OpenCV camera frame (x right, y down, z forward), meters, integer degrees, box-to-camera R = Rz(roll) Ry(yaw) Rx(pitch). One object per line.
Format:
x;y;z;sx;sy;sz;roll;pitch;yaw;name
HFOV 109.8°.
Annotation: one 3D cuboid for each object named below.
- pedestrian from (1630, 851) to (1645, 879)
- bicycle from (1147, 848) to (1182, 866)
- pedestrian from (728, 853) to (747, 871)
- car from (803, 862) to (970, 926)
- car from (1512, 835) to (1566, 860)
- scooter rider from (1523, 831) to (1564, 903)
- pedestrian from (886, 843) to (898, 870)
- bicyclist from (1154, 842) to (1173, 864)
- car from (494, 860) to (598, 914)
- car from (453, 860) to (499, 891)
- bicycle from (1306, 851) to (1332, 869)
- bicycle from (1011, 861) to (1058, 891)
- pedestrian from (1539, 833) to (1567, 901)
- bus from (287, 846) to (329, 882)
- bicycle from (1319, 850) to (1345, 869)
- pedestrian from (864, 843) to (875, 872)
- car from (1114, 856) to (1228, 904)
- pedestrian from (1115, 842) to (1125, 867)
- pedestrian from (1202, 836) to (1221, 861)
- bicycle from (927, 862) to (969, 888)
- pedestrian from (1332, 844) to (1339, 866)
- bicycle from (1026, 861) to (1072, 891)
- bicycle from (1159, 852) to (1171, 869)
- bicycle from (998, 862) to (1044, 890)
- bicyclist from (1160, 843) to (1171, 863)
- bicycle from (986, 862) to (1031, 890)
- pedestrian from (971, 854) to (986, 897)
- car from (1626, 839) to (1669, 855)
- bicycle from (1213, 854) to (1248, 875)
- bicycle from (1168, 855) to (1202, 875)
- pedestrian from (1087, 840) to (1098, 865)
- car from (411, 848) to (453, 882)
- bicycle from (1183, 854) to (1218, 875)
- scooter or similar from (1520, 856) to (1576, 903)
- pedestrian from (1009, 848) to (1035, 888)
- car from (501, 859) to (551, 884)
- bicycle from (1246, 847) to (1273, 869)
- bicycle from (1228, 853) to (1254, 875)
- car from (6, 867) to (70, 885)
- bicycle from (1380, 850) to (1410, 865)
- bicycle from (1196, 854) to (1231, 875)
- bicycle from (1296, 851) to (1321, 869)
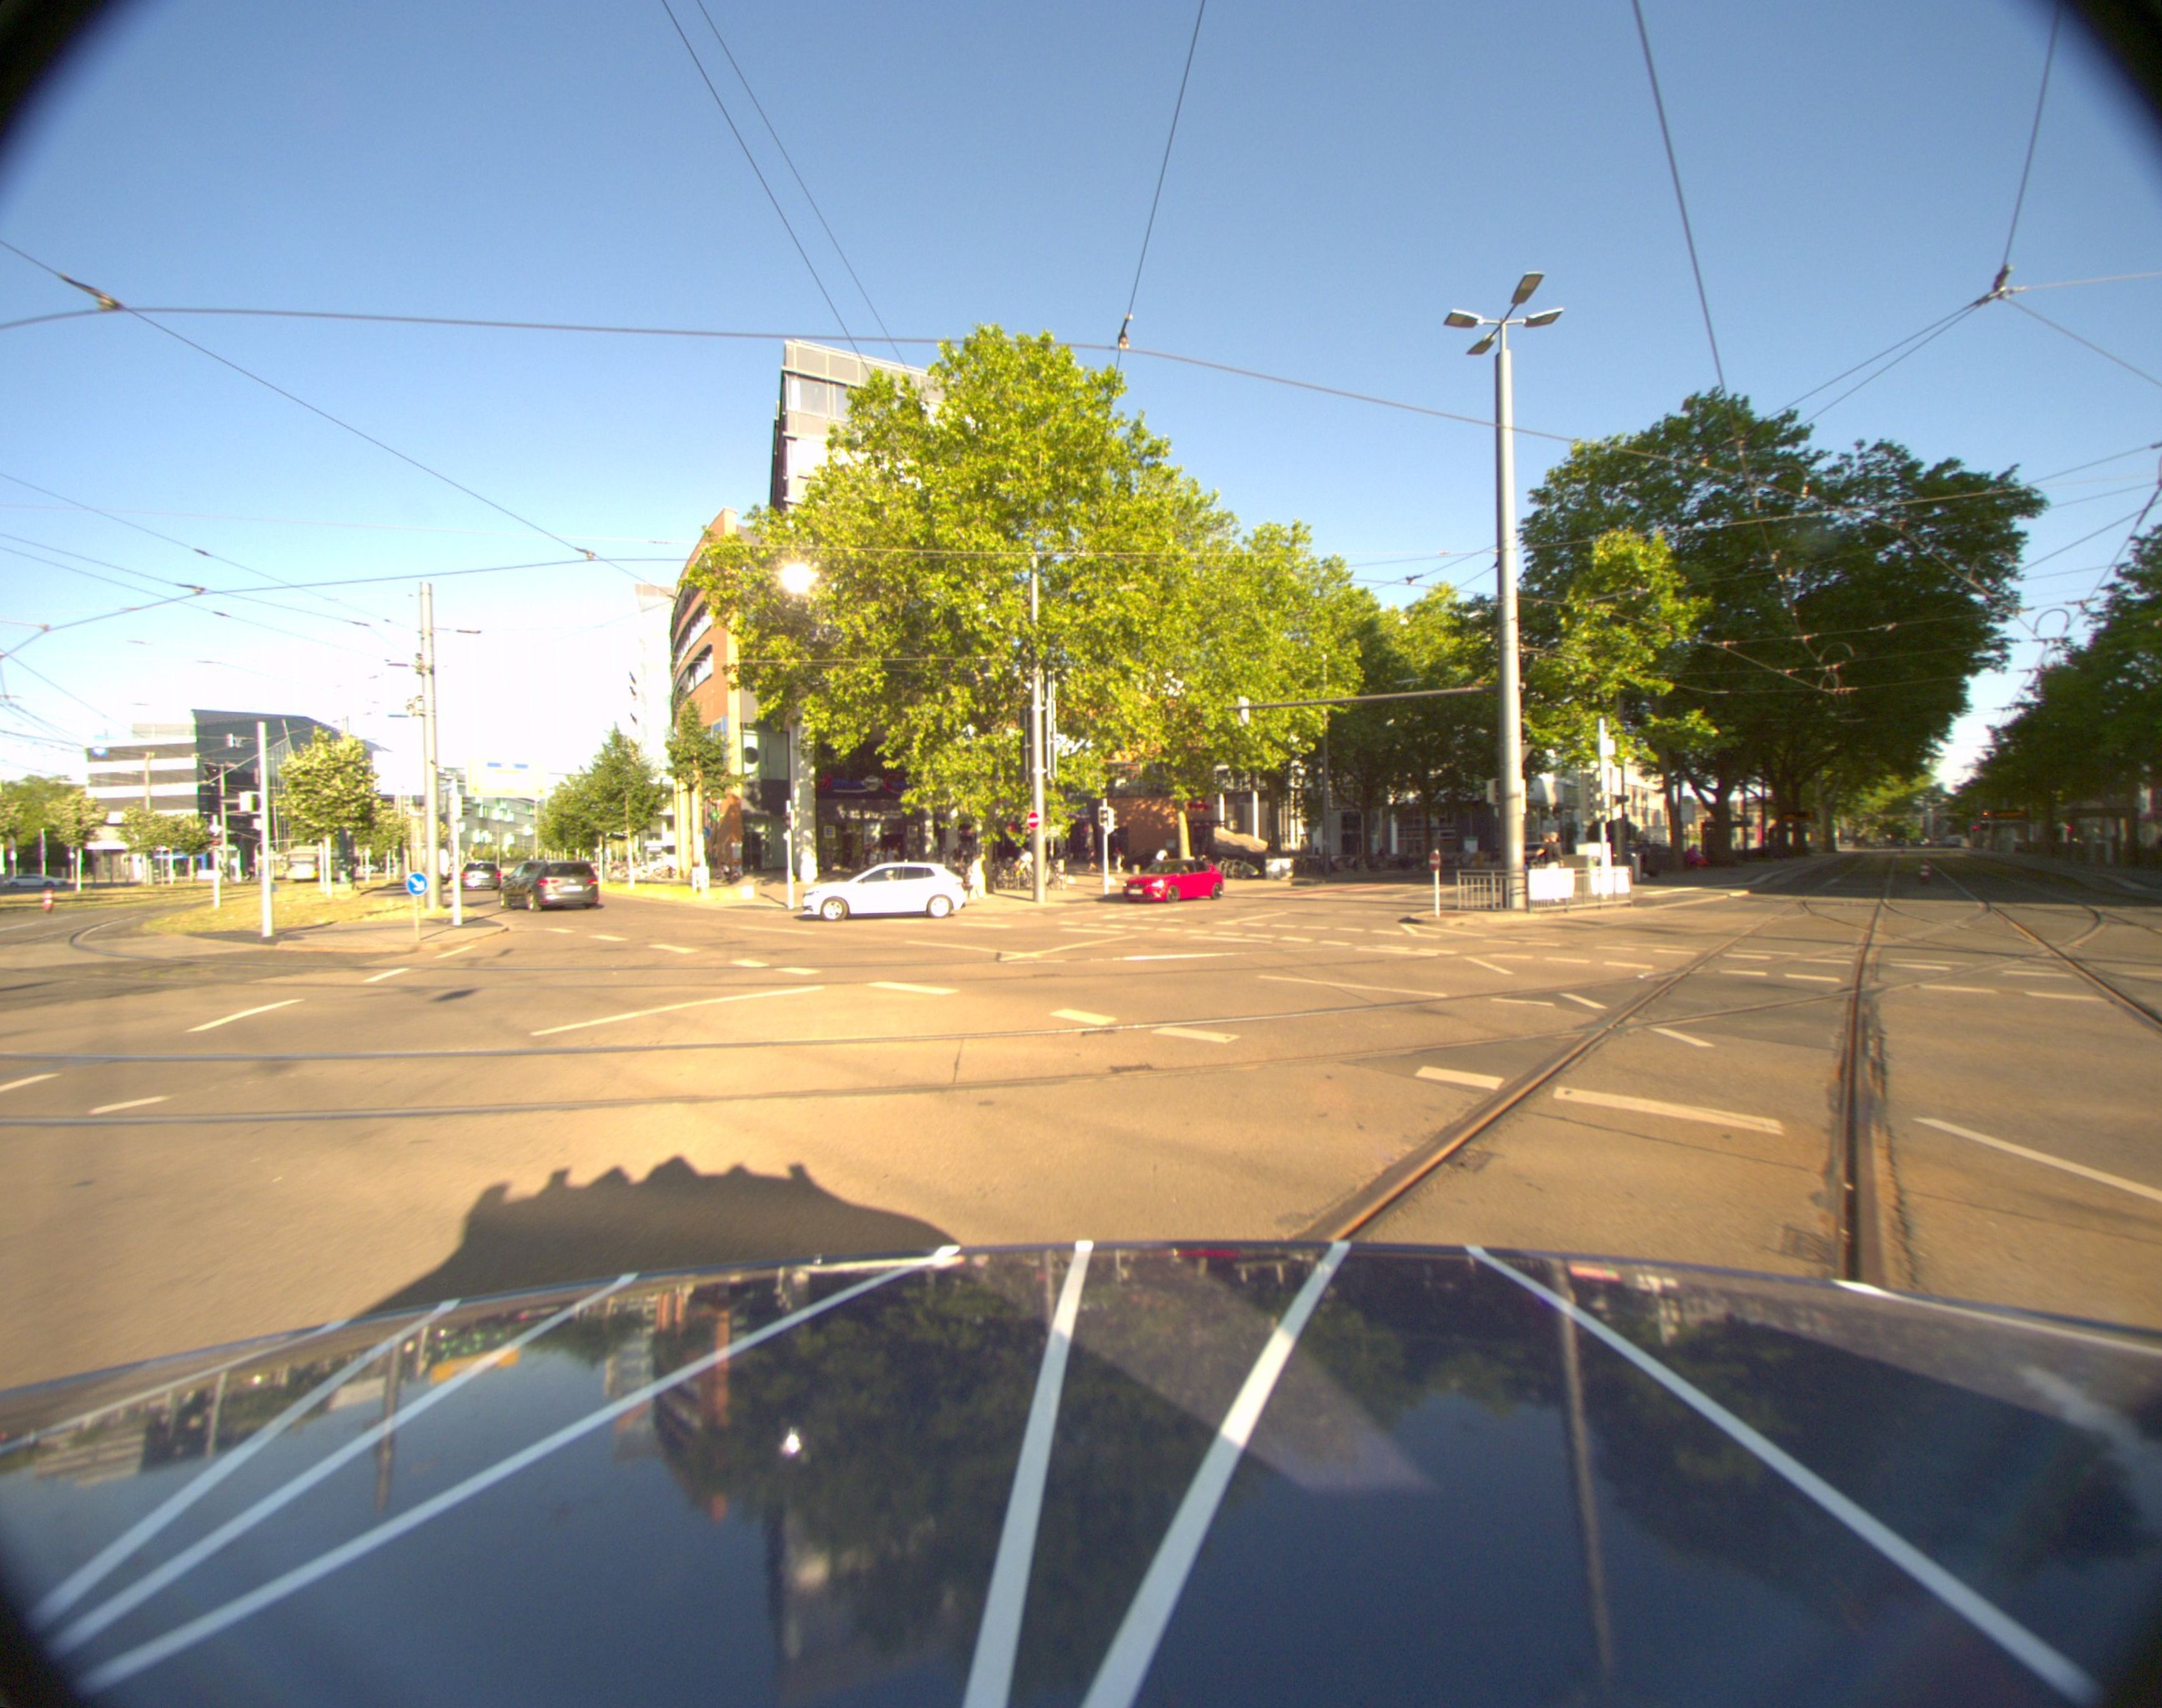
20.185;0.397;27.565;0.405;1.026;0.379;0;2;41;pedestrian
5.140;0.173;46.901;2.016;1.061;0.695;-1;1;-16;bicycle
-20.569;0.484;45.443;0.679;1.075;0.778;0;1;36;pedestrian
-5.028;0.978;19.789;4.002;1.443;1.634;-1;0;-16;car
37.220;-0.565;61.747;4.974;1.934;1.967;-2;0;-36;car
12.036;0.317;19.768;0.589;1.822;0.761;-2;1;-38;scooter rider
-11.648;0.165;46.926;0.596;1.647;0.591;-1;1;-24;pedestrian
5.086;-0.076;46.866;0.959;1.337;0.674;-1;1;-15;bicyclist
-17.364;1.023;24.602;4.163;1.593;1.622;-1;-1;38;car
-33.538;1.158;42.066;1.869;1.622;4.251;-2;0;-40;car
14.534;0.348;46.383;1.950;1.057;0.577;-2;1;-42;bicycle
-1.898;0.888;31.261;0.773;1.123;1.847;0;1;43;bicycle
12.604;0.329;20.284;0.568;1.786;0.674;0;1;37;pedestrian
-77.542;1.060;76.178;9.641;3.388;2.732;-2;0;44;bus
15.111;0.330;45.796;1.950;1.057;0.577;-2;1;-42;bicycle
-12.933;0.200;46.414;0.593;1.745;0.595;-1;1;-12;pedestrian
3.058;0.813;25.293;1.687;1.420;4.008;-1;0;43;car
2.656;0.046;52.118;0.544;1.660;0.570;-1;1;-13;pedestrian
7.988;-0.329;46.628;0.764;1.533;0.877;0;2;42;pedestrian
-5.596;0.884;32.096;1.703;1.030;0.547;-1;1;-42;bicycle
17.828;0.049;53.193;0.410;1.546;0.448;0;1;17;pedestrian
-1.286;0.868;30.712;0.773;1.123;1.847;0;1;43;bicycle
5.600;0.442;50.553;0.695;1.061;2.015;-1;1;3;bicycle
-2.497;0.907;31.838;0.773;1.123;1.847;0;1;43;bicycle
5.603;-0.078;50.490;0.674;1.292;0.959;-1;1;3;bicyclist
-3.094;0.926;32.456;0.773;1.123;1.847;0;1;43;bicycle
-3.673;0.771;27.282;0.484;1.529;0.572;-1;1;-8;pedestrian
52.720;-0.677;70.687;4.006;1.420;1.688;-2;0;-29;car
7.801;0.528;39.575;1.950;1.057;0.781;-2;1;-42;bicycle
5.745;0.593;41.786;1.950;1.057;0.781;-2;1;-42;bicycle
0.772;-0.121;50.680;0.571;1.660;0.542;-1;1;-28;pedestrian
-49.840;0.872;58.298;2.004;2.466;5.958;-2;0;-44;car
6.412;0.573;40.864;1.950;1.057;0.781;-2;1;-42;bicycle
12.100;0.638;19.700;0.456;1.172;1.157;-2;1;-37;scooter or similar
-2.621;0.609;33.716;0.894;1.754;0.729;-1;0;-32;pedestrian
-38.249;1.173;52.336;4.251;1.622;1.869;-1;0;42;car
9.991;0.210;42.737;0.783;1.182;3.558;-1;1;2;bicycle
8.898;0.529;42.388;0.783;1.182;3.558;-1;1;2;bicycle
-118.095;2.482;86.055;1.995;1.849;4.007;-1;1;29;car
22.253;0.259;53.837;0.579;1.057;1.941;-2;1;-39;bicycle
6.999;0.554;40.187;1.950;1.057;0.781;-2;1;-42;bicycle
14.088;0.363;47.038;1.950;1.057;0.577;-2;1;-42;bicycle
